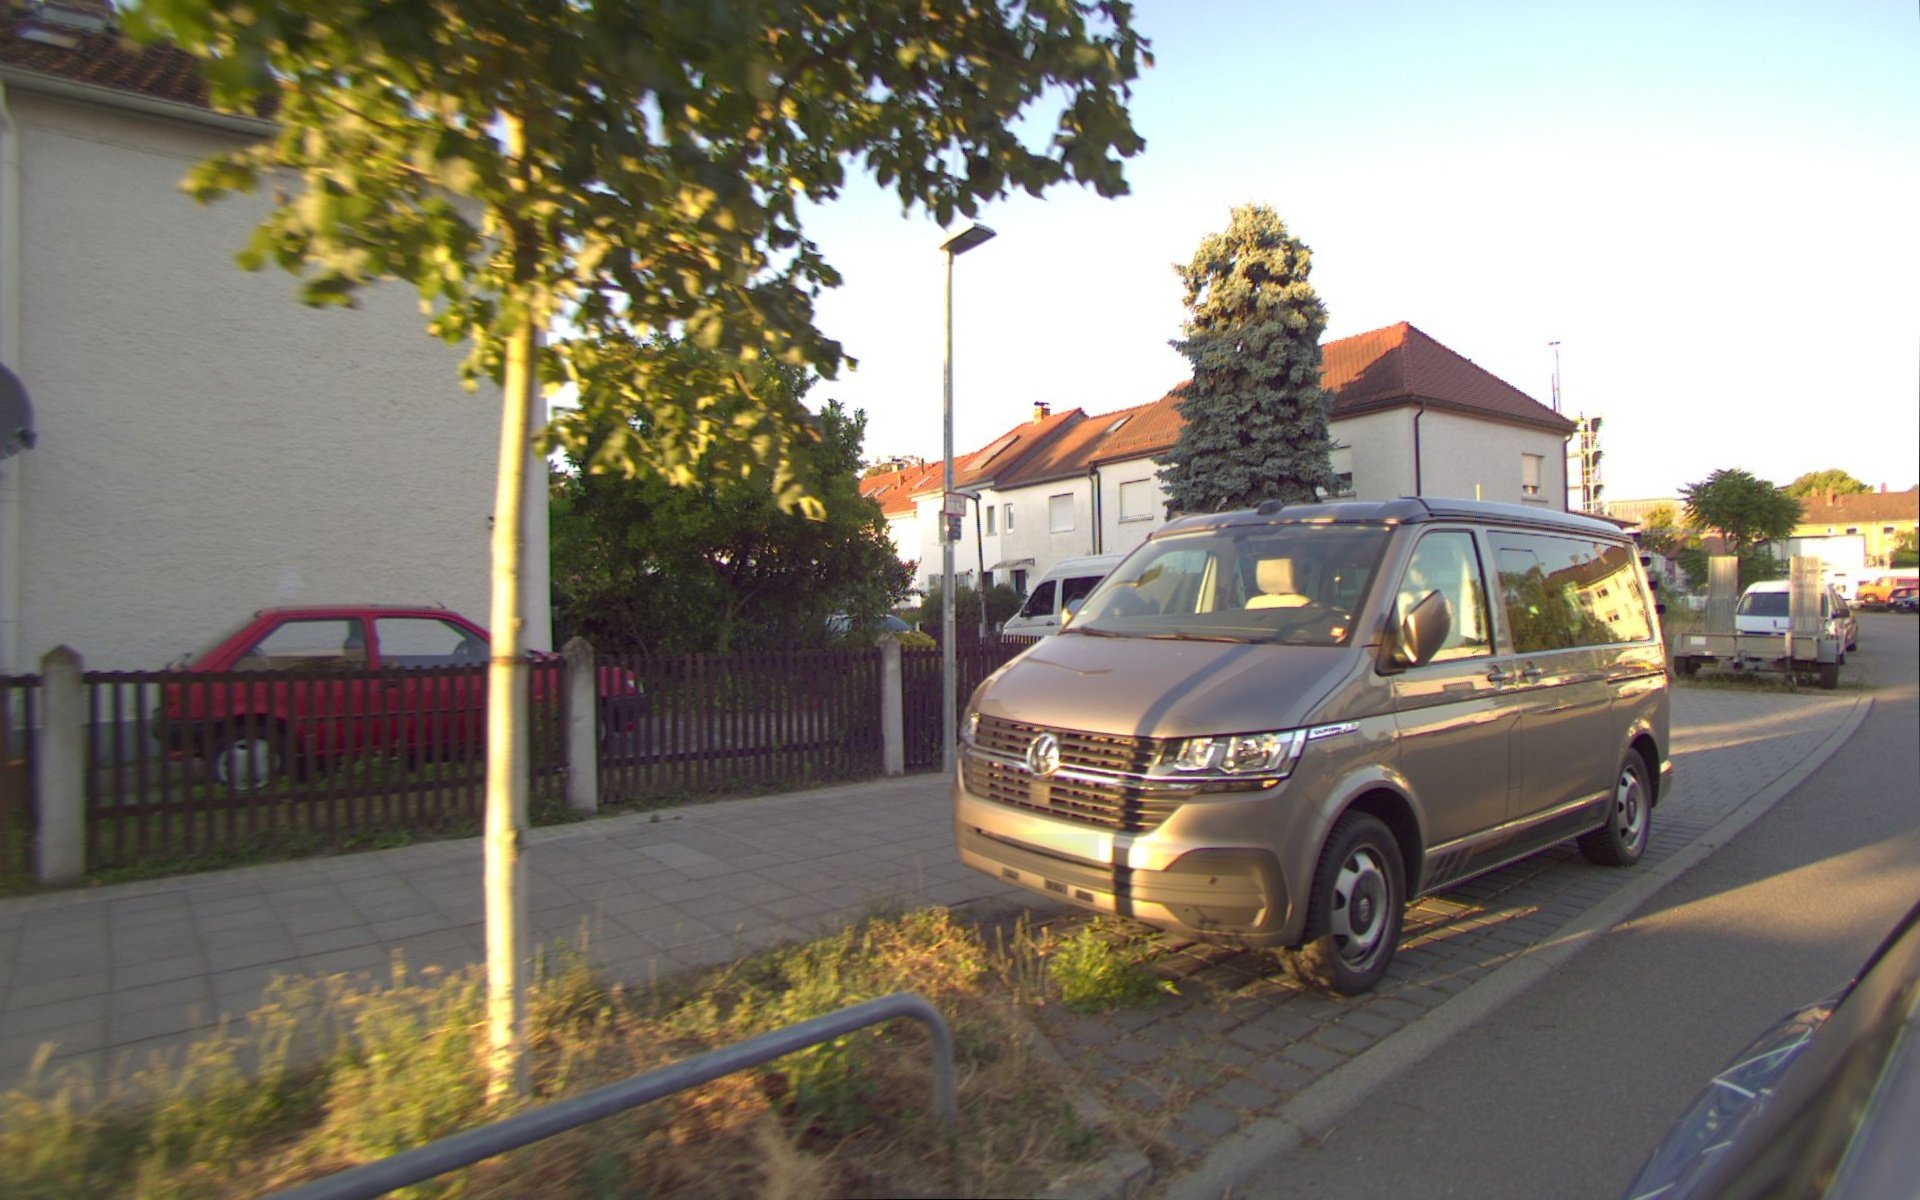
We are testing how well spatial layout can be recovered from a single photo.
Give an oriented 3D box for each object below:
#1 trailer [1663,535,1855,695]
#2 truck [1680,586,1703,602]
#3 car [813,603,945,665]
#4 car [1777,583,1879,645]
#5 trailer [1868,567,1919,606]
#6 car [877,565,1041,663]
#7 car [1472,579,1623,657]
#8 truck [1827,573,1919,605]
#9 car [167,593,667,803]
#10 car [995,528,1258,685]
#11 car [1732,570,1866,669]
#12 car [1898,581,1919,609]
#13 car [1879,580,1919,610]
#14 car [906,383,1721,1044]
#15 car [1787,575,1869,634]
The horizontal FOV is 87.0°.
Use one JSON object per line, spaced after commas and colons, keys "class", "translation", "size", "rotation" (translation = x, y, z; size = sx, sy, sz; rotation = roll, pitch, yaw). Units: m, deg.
{"class": "trailer", "translation": [13.303, 0.198, 16.717], "size": [2.063, 2.239, 5.141], "rotation": [-1, 0, 43]}
{"class": "truck", "translation": [101.879, -0.820, 140.980], "size": [1.823, 2.128, 3.708], "rotation": [-4, -2, 25]}
{"class": "car", "translation": [-2.336, 0.913, 28.091], "size": [1.710, 1.496, 4.134], "rotation": [-3, 1, -36]}
{"class": "car", "translation": [23.435, 0.339, 27.270], "size": [4.020, 1.538, 1.705], "rotation": [-1, 0, -44]}
{"class": "trailer", "translation": [64.281, -0.941, 67.922], "size": [4.783, 2.463, 2.104], "rotation": [-3, 0, 40]}
{"class": "car", "translation": [-0.169, 0.439, 29.173], "size": [2.013, 2.547, 5.582], "rotation": [1, -2, -33]}
{"class": "car", "translation": [13.570, 0.363, 23.313], "size": [3.832, 1.538, 1.640], "rotation": [-3, 1, -37]}
{"class": "truck", "translation": [64.929, -0.750, 70.978], "size": [5.992, 2.069, 2.326], "rotation": [-2, -1, 36]}
{"class": "car", "translation": [-4.550, 0.682, 8.767], "size": [3.571, 1.462, 1.533], "rotation": [0, 0, -36]}
{"class": "car", "translation": [3.150, 0.190, 20.529], "size": [2.013, 2.728, 5.582], "rotation": [1, -2, -33]}
{"class": "car", "translation": [17.756, 0.329, 21.350], "size": [1.772, 1.854, 4.337], "rotation": [-1, 1, 45]}
{"class": "car", "translation": [59.180, -0.355, 60.782], "size": [4.032, 1.640, 1.822], "rotation": [-2, -1, 42]}
{"class": "car", "translation": [51.942, -0.297, 54.234], "size": [3.922, 1.535, 1.619], "rotation": [-2, 0, 42]}
{"class": "car", "translation": [2.237, 0.349, 5.585], "size": [4.785, 2.121, 2.069], "rotation": [0, 0, -40]}
{"class": "car", "translation": [27.594, 0.103, 32.289], "size": [1.803, 1.746, 4.859], "rotation": [1, 1, 39]}
